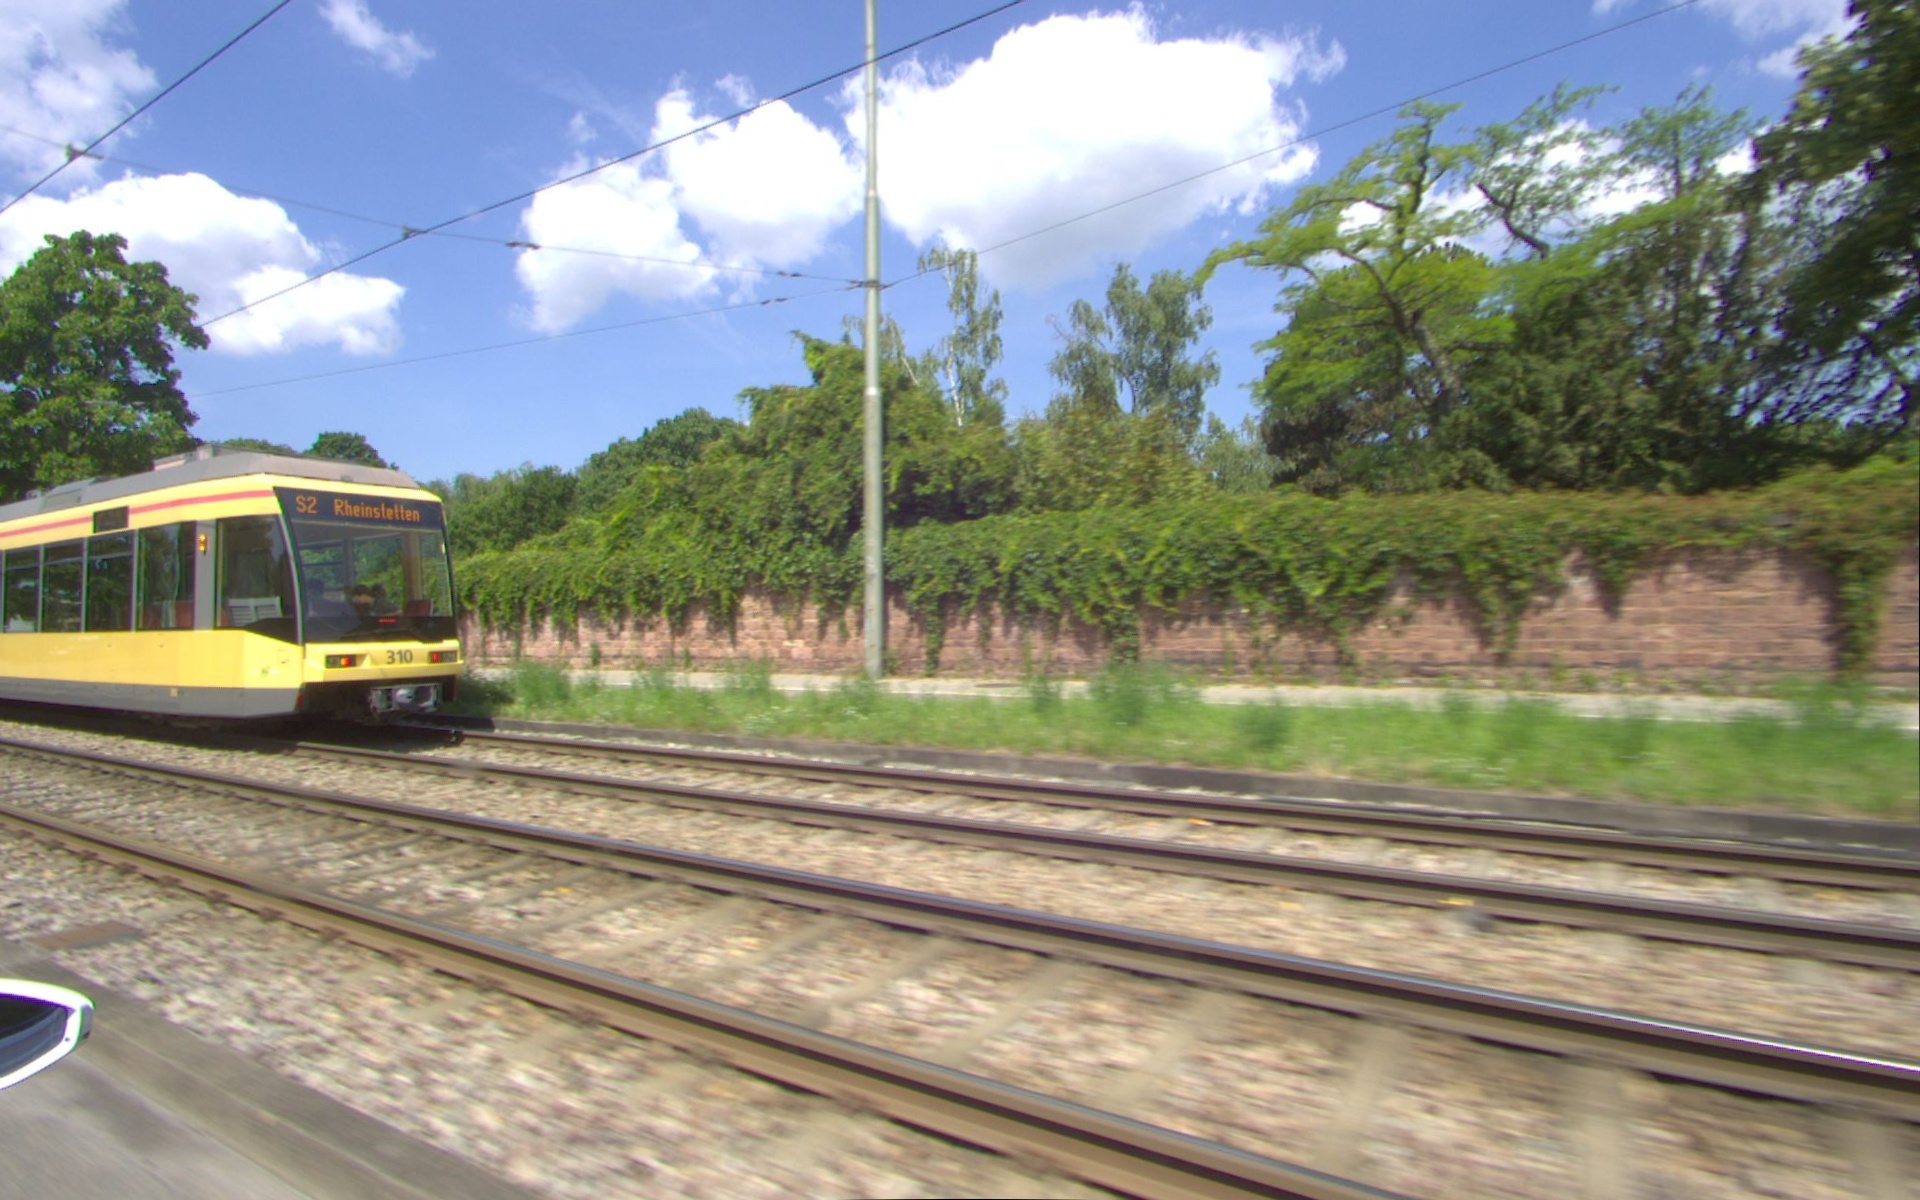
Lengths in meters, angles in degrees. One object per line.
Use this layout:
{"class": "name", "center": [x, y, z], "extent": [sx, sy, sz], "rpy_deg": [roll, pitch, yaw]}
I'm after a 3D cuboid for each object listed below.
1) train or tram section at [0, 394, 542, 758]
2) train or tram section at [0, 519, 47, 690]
{"class": "train or tram section", "center": [-13.724, -0.075, 16.426], "extent": [18.128, 3.739, 2.938], "rpy_deg": [-1, -1, 33]}
{"class": "train or tram section", "center": [-29.781, 0.238, 26.737], "extent": [19.995, 3.739, 2.938], "rpy_deg": [-1, -1, 33]}
